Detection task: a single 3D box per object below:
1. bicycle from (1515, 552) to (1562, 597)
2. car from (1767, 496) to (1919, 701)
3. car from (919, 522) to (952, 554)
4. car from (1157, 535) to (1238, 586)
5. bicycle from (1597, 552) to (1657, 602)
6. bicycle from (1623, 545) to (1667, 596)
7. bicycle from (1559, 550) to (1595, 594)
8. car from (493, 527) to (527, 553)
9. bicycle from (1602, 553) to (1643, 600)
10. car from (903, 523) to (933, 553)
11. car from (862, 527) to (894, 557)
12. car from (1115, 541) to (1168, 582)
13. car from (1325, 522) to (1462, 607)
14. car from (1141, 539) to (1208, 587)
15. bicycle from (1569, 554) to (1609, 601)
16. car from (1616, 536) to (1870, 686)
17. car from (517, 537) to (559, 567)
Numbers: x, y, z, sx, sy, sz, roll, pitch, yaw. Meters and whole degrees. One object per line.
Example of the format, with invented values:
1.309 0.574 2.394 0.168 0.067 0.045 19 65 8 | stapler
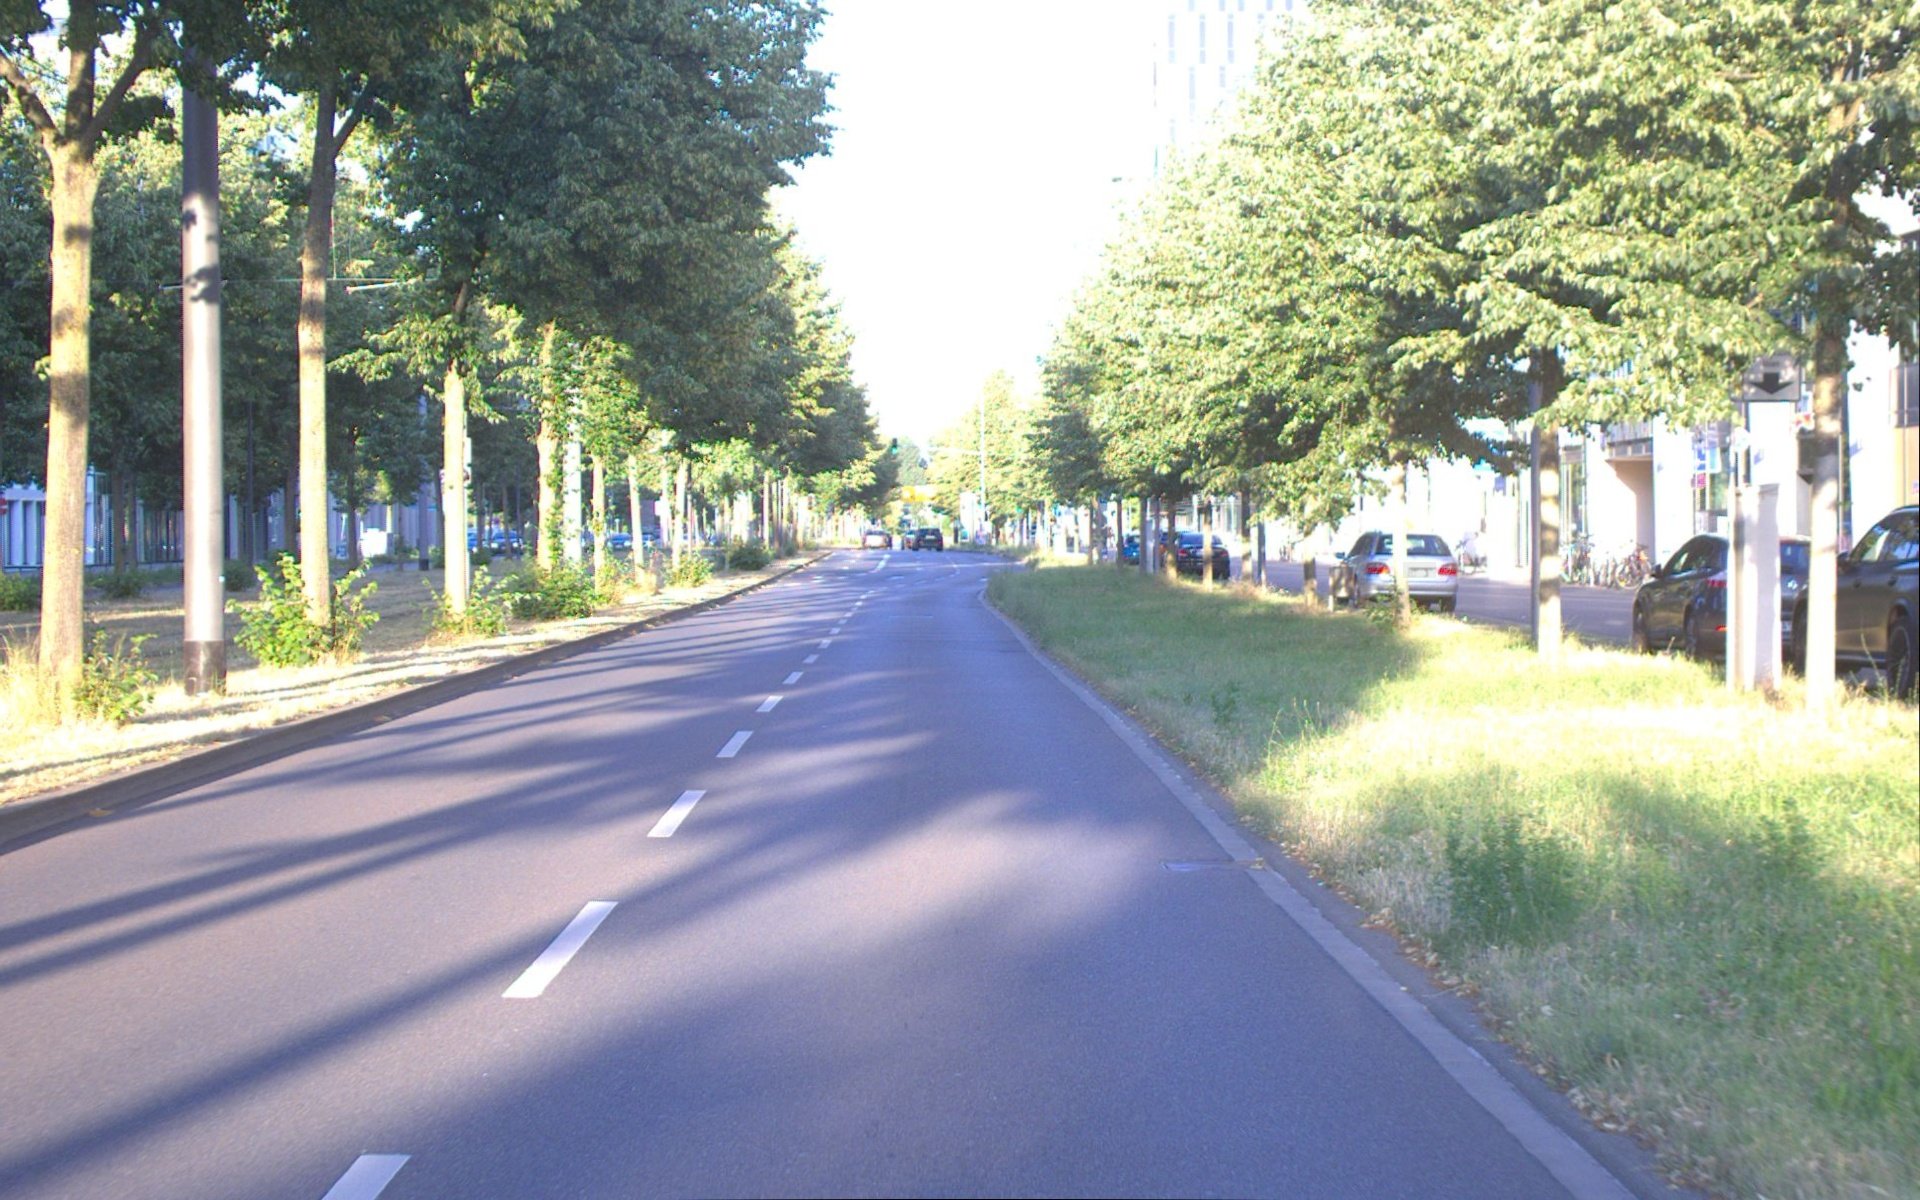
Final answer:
14.194 -0.632 84.411 0.533 1.057 1.781 -3 1 -10 | bicycle
8.534 -0.021 29.477 1.953 1.618 4.821 2 1 -1 | car
-1.569 -3.928 216.460 1.993 2.007 4.000 0 1 -1 | car
7.374 -1.234 107.185 1.943 1.543 4.812 -1 1 -3 | car
14.301 -0.498 73.741 0.533 1.057 1.857 -3 1 -13 | bicycle
14.875 -0.648 74.699 0.533 1.057 1.857 -2 1 0 | bicycle
14.972 -0.689 83.469 0.533 1.057 1.857 0 1 0 | bicycle
-26.581 -3.564 203.248 1.833 1.485 3.508 0 1 -4 | car
15.376 -0.556 79.822 0.533 1.057 1.857 -2 1 0 | bicycle
-2.834 -4.259 235.296 1.993 2.007 4.000 1 1 0 | car
-5.533 -3.886 231.499 2.087 2.007 4.000 0 1 -1 | car
7.004 -1.492 133.208 1.724 1.524 4.269 1 1 -1 | car
7.929 -0.677 63.276 1.808 1.495 4.826 0 1 -1 | car
7.110 -1.226 114.142 1.854 1.524 4.483 1 1 -1 | car
14.811 -0.546 80.973 0.533 1.057 1.857 -2 1 0 | bicycle
8.343 0.074 36.986 1.724 1.495 4.233 1 1 0 | car
-23.199 -2.642 189.018 1.885 1.572 4.183 -1 1 -1 | car
